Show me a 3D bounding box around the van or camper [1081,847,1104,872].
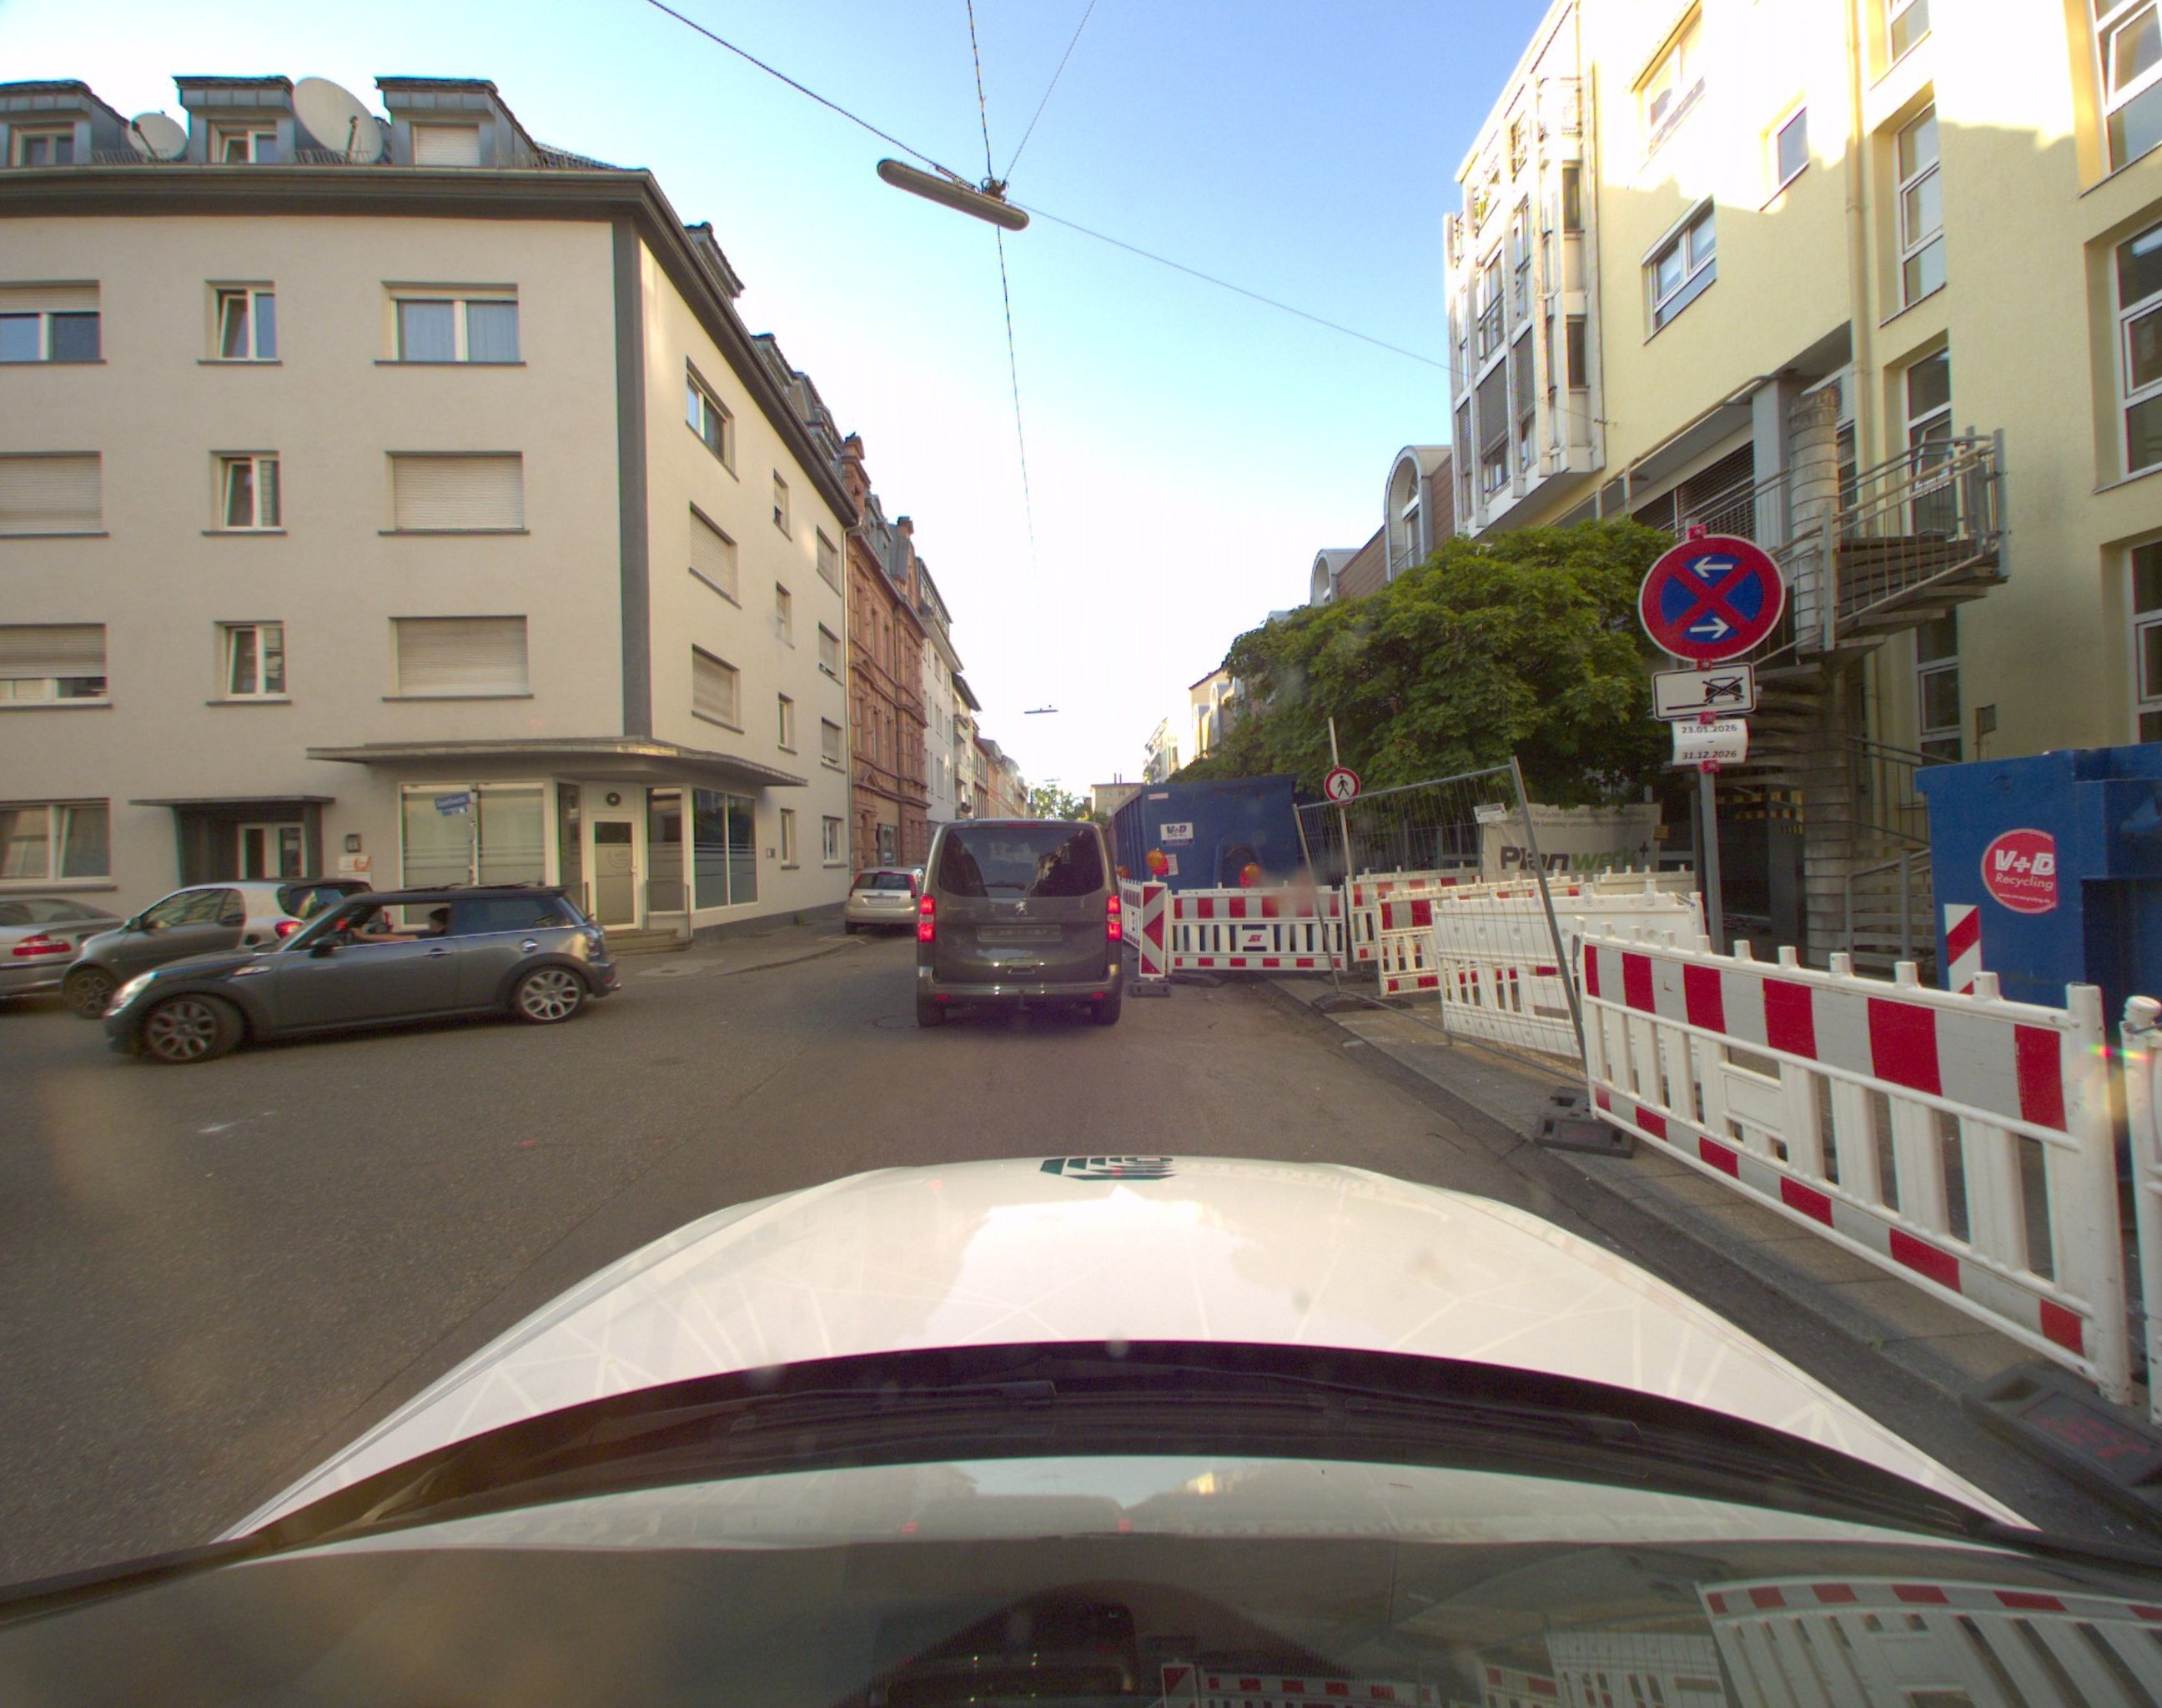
[{"bbox_3d":[1.233,0.621,90.753,2.094,2.602,7.505,-3,0,-2],"label":"van or camper"}]

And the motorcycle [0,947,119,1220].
[{"bbox_3d":[-6.055,1.144,4.054,1.684,1.249,0.808,0,1,6],"label":"motorcycle"}]

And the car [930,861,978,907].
[{"bbox_3d":[-4.767,1.095,30.867,1.392,1.588,2.792,-1,0,-2],"label":"car"}]

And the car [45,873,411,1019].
[{"bbox_3d":[-10.398,1.065,10.110,2.746,1.566,1.648,-1,0,-1],"label":"car"}]

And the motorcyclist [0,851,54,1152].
[{"bbox_3d":[-6.162,0.779,4.054,0.991,1.567,0.876,0,1,7],"label":"motorcyclist"}]

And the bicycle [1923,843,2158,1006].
[{"bbox_3d":[7.990,0.552,6.796,1.646,1.268,0.547,0,-1,-12],"label":"bicycle"}]

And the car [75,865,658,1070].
[{"bbox_3d":[-6.675,0.910,8.264,4.016,1.486,1.979,-1,0,-35],"label":"car"}]

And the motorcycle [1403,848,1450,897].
[{"bbox_3d":[9.196,0.473,21.740,0.863,1.222,2.468,-3,-1,17],"label":"motorcycle"}]

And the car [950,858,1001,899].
[{"bbox_3d":[-4.473,1.014,34.969,1.735,1.599,4.012,-1,0,-2],"label":"car"}]

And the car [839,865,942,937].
[{"bbox_3d":[-4.275,1.004,18.751,1.628,1.430,3.552,-1,0,-2],"label":"car"}]

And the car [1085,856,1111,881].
[{"bbox_3d":[1.224,1.006,57.492,1.742,1.683,4.526,-1,0,1],"label":"car"}]

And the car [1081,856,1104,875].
[{"bbox_3d":[1.027,1.064,74.728,1.719,1.612,4.582,-2,-1,-3],"label":"car"}]

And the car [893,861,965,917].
[{"bbox_3d":[-4.451,0.974,24.260,1.551,1.508,3.595,1,0,-2],"label":"car"}]

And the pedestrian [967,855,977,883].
[{"bbox_3d":[-6.383,0.861,47.720,0.493,1.638,0.665,0,-1,-1],"label":"pedestrian"}]

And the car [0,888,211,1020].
[{"bbox_3d":[-14.344,1.245,10.399,4.238,1.453,1.967,-1,0,-2],"label":"car"}]

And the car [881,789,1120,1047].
[{"bbox_3d":[-0.715,0.526,8.731,1.853,2.013,3.997,-4,0,-2],"label":"car"}]
